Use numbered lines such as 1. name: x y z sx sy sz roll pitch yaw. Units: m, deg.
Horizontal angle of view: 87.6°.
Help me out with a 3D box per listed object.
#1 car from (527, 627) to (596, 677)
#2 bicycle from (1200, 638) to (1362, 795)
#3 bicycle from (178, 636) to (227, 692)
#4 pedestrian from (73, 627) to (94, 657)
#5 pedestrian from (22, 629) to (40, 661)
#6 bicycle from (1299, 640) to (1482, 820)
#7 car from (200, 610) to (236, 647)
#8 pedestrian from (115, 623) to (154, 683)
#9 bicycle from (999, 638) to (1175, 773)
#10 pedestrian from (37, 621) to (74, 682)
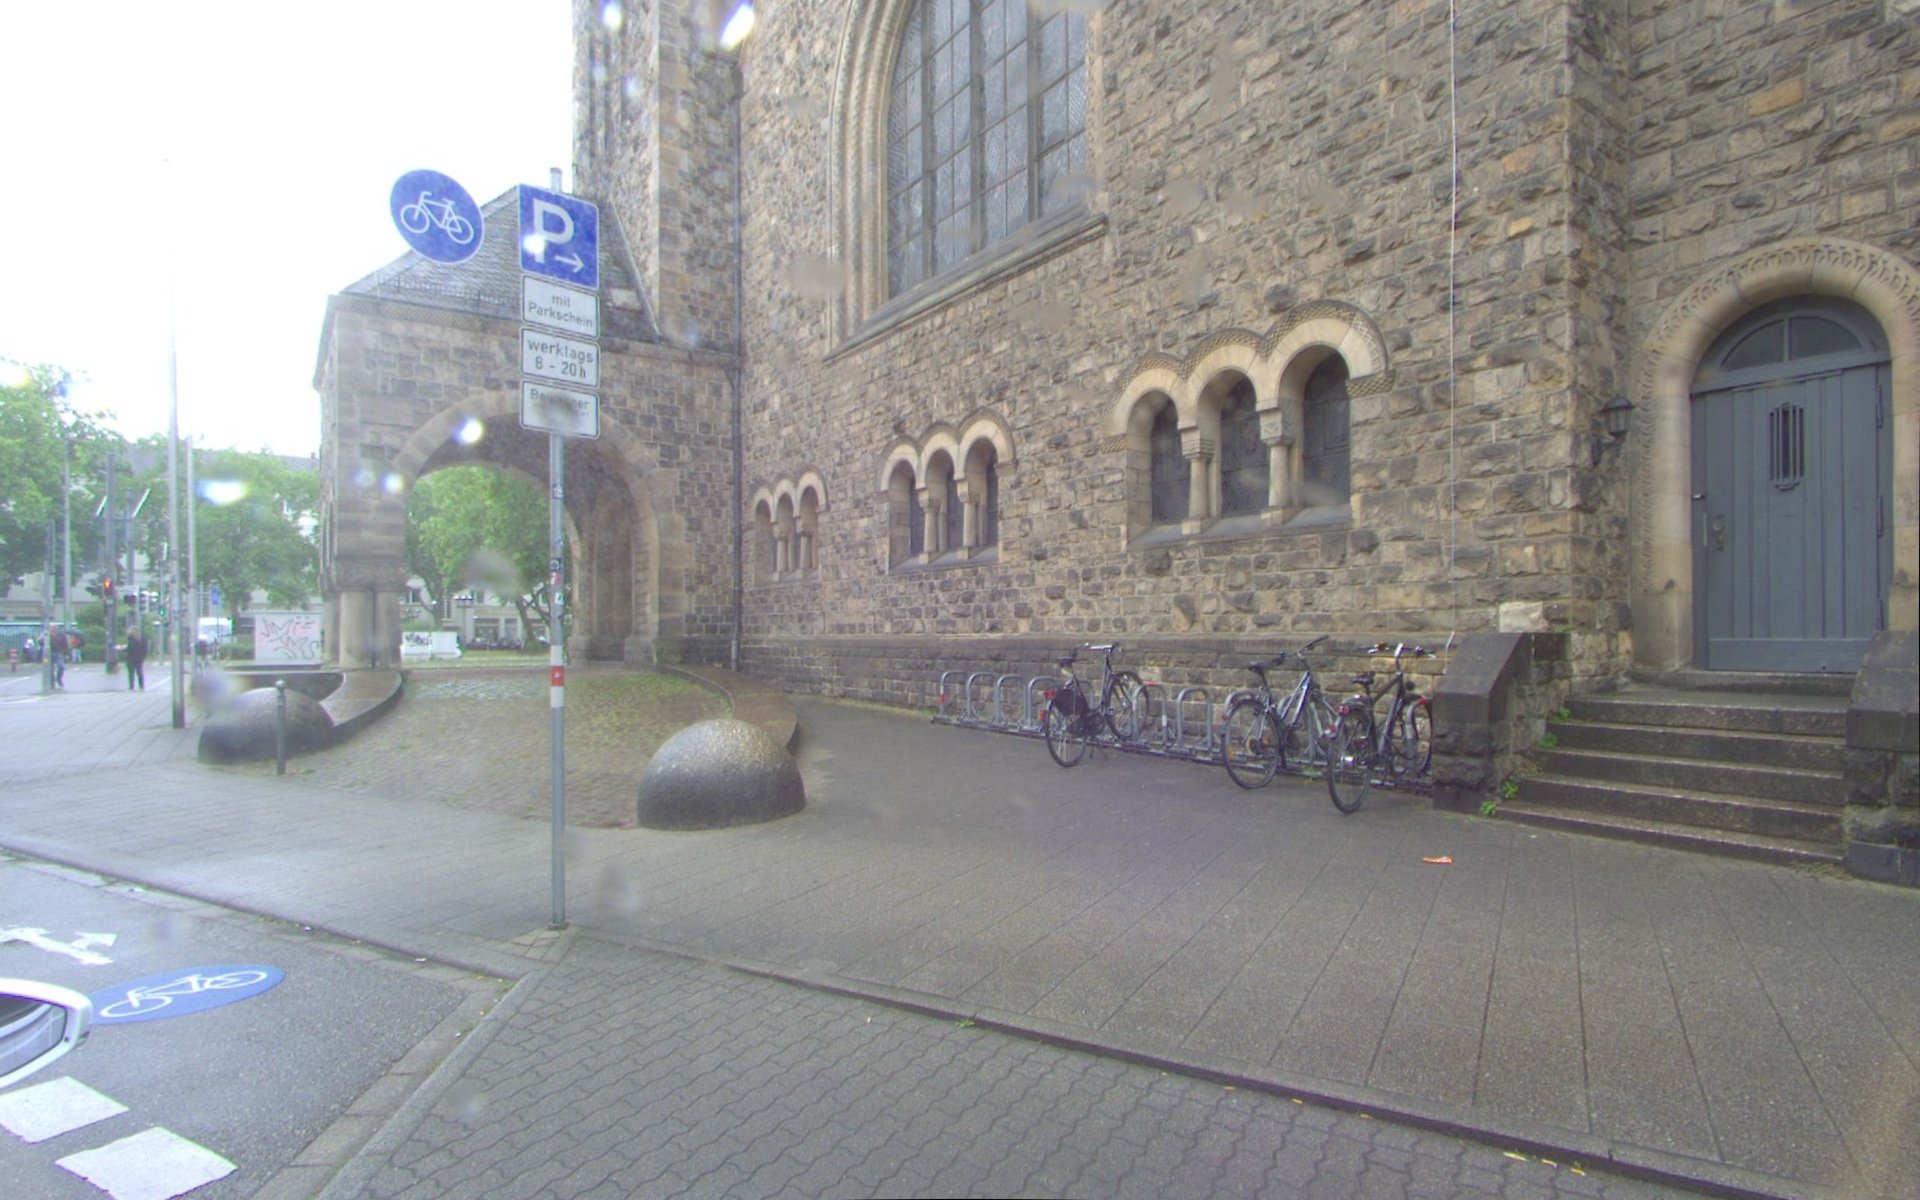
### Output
1. car: -12.702 1.609 31.866 1.389 1.498 3.200 1 -2 -34
2. bicycle: 2.734 0.916 8.429 1.697 1.126 0.556 -2 0 -45
3. bicycle: -16.634 1.381 21.976 2.049 1.169 0.327 -1 -1 38
4. pedestrian: -46.295 2.207 52.878 0.666 1.573 0.758 0 -2 -30
5. pedestrian: -47.118 2.283 50.794 0.607 1.624 0.491 0 -1 -34
6. bicycle: 3.192 0.871 7.321 1.971 1.068 0.507 -2 0 -45
7. car: -53.685 2.075 72.528 1.888 2.588 4.757 0 -1 -34
8. pedestrian: -23.406 1.496 28.403 0.775 1.667 0.651 0 0 -34
9. bicycle: 1.300 0.982 9.907 0.684 1.119 1.973 -1 0 43
10. pedestrian: -26.743 1.506 29.605 0.780 1.782 0.936 0 0 -43
